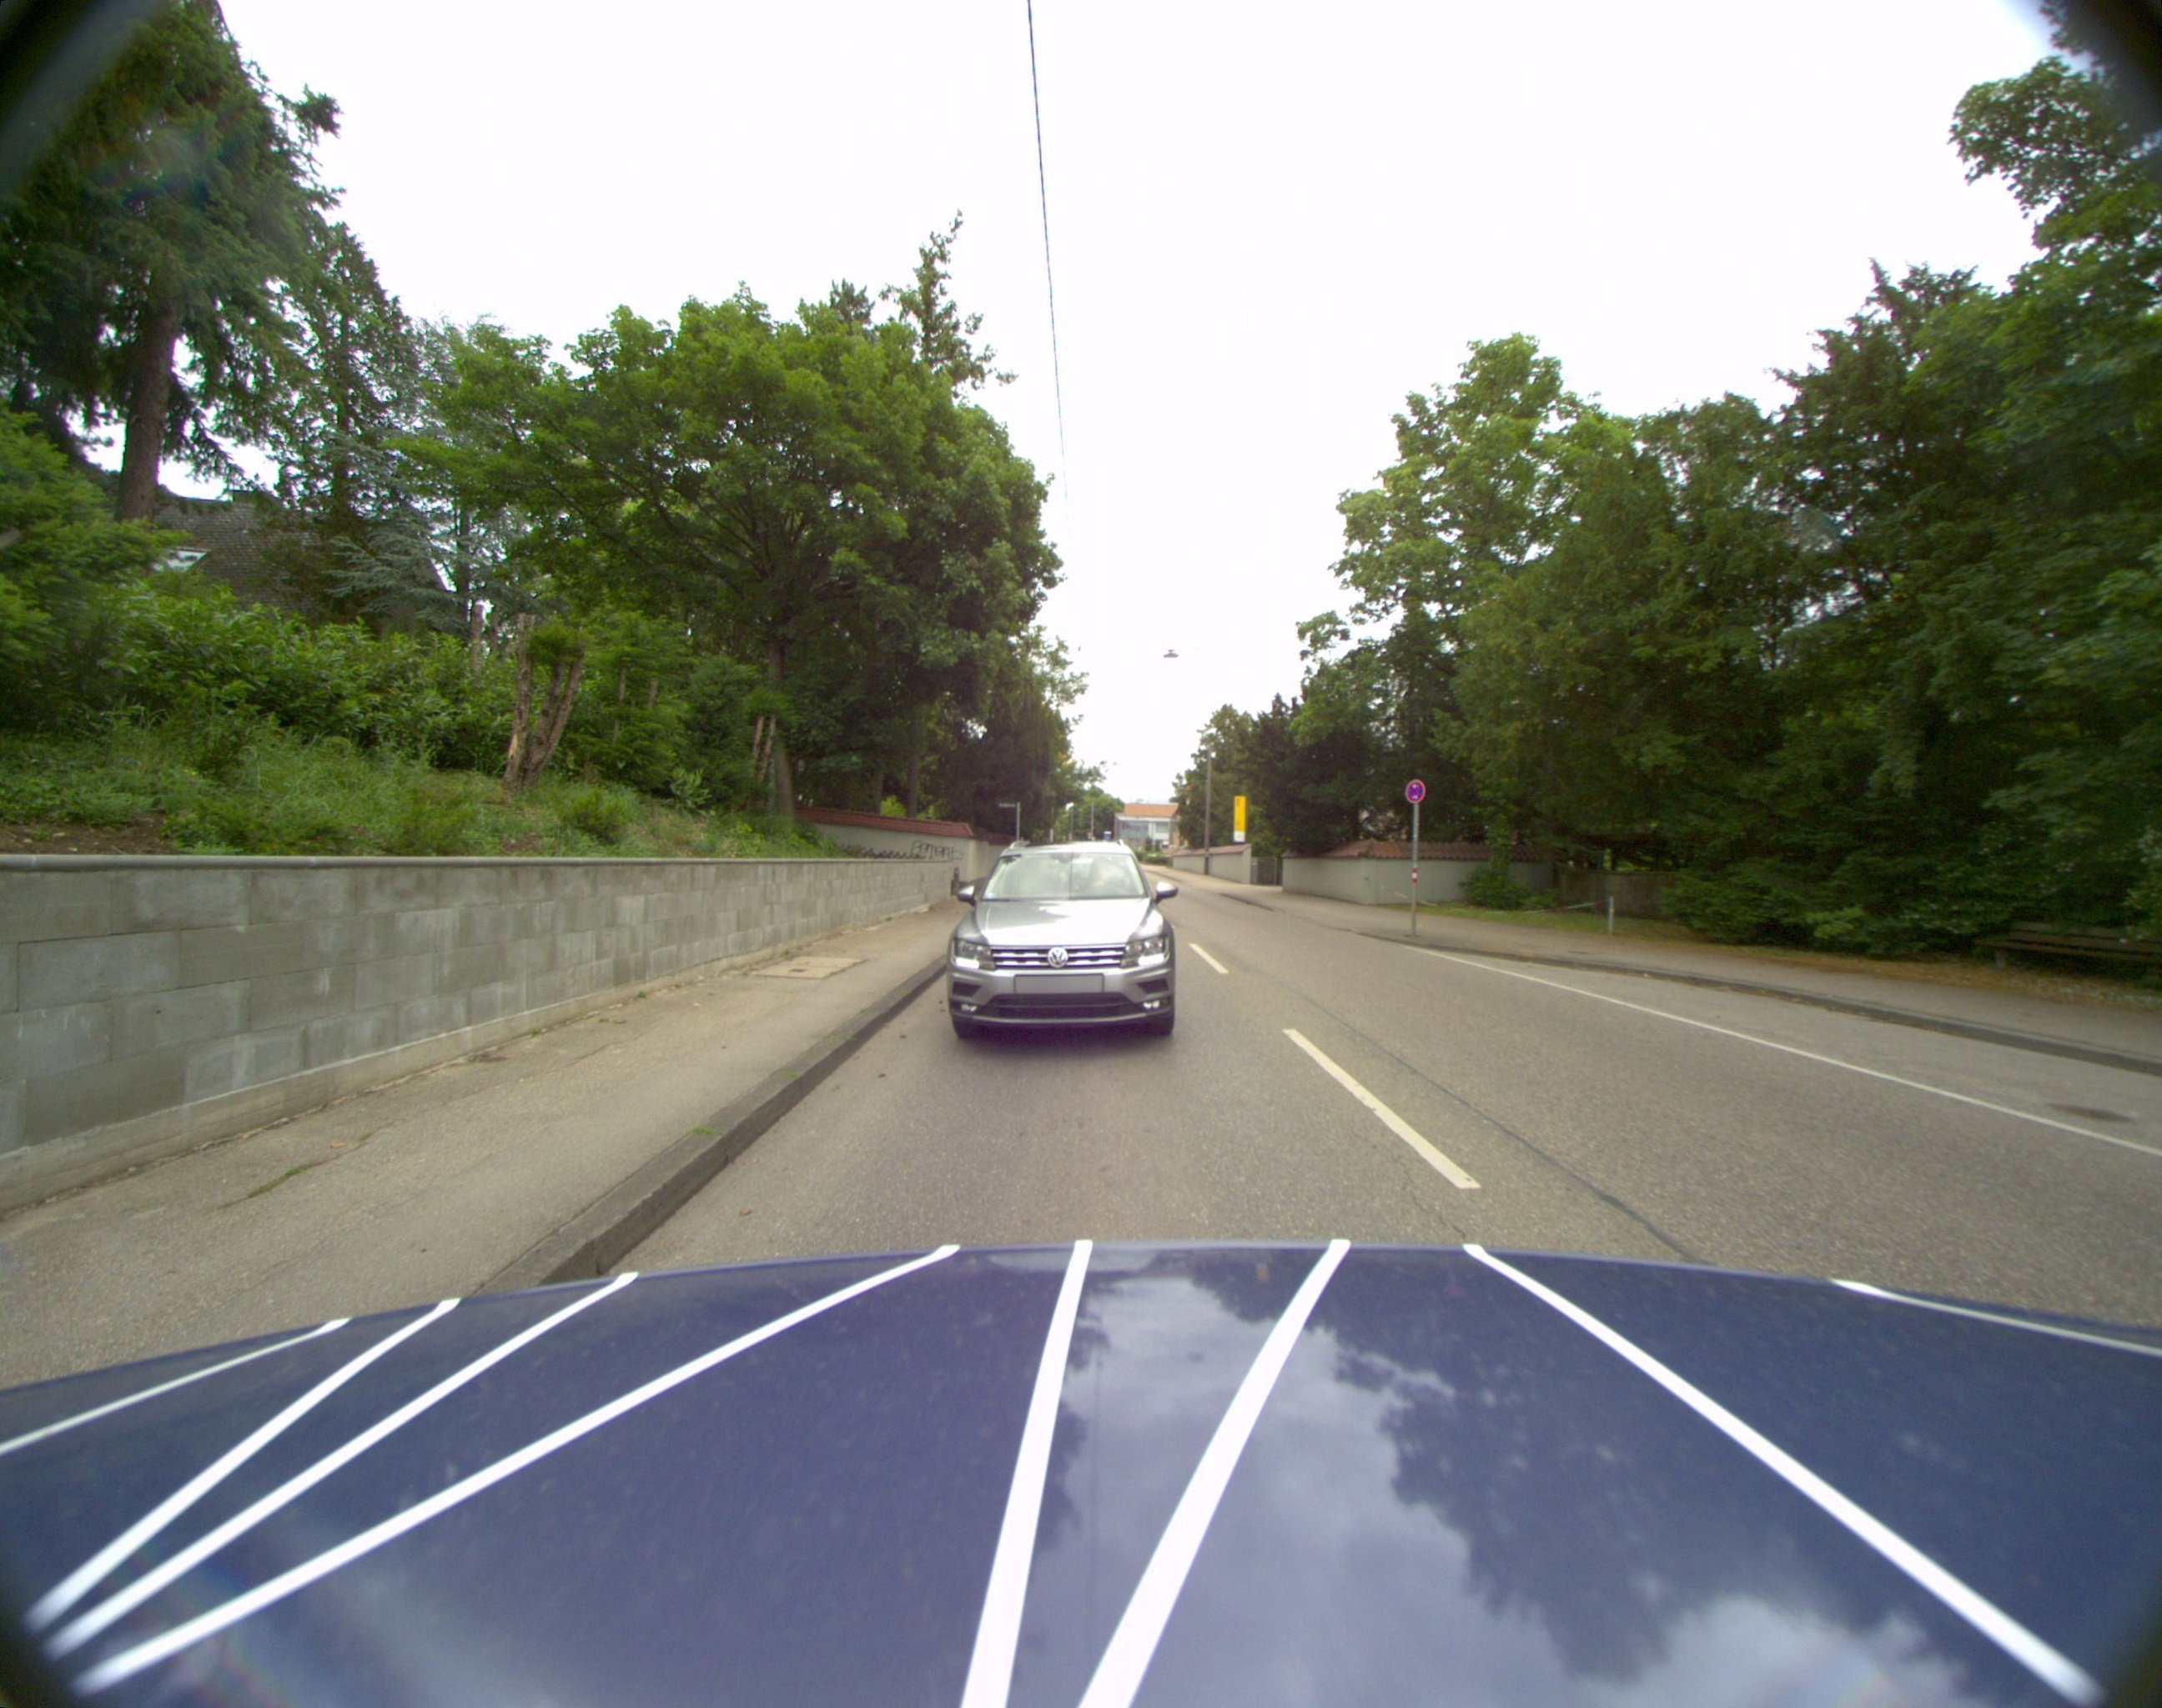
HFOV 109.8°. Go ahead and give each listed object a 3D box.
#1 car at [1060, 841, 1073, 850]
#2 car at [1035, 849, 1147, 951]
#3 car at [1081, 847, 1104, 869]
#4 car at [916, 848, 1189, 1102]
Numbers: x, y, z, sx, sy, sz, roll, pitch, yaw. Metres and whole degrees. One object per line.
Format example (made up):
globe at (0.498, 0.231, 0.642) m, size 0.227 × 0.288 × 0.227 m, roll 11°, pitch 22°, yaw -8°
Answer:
car at (-2.667, -1.582, 138.727) m, size 1.878 × 1.647 × 4.252 m, roll 0°, pitch 1°, yaw -8°
car at (0.172, 0.734, 14.643) m, size 1.820 × 1.647 × 4.487 m, roll 0°, pitch 1°, yaw 0°
car at (0.905, 0.306, 61.109) m, size 1.820 × 1.733 × 4.487 m, roll 0°, pitch 1°, yaw 0°
car at (-0.177, 0.809, 7.529) m, size 1.820 × 1.690 × 4.718 m, roll -1°, pitch 0°, yaw 0°
